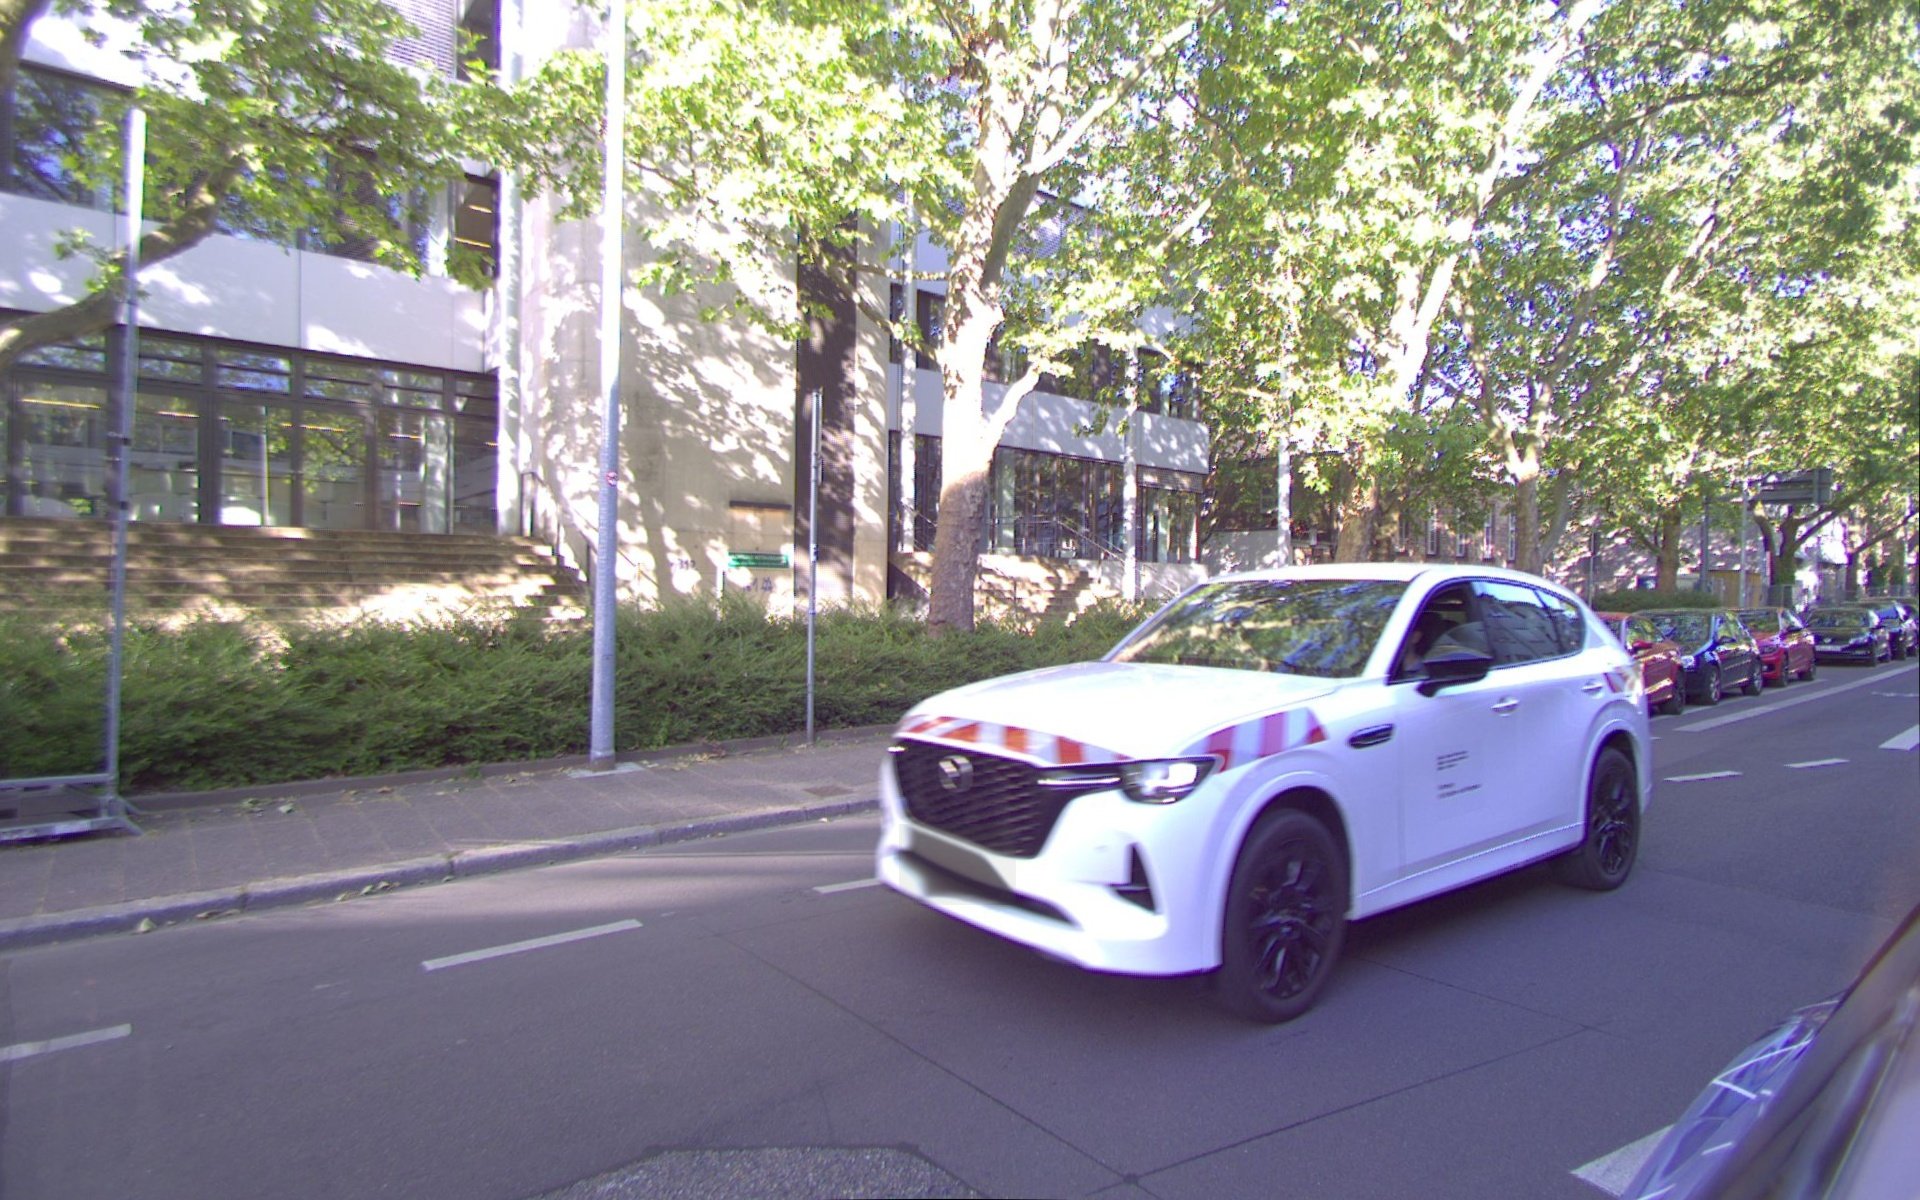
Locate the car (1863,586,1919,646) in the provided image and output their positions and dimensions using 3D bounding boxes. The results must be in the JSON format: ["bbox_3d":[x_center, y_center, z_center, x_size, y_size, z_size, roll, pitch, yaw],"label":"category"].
[{"bbox_3d":[30.970,0.488,32.964,4.370,1.844,1.753,0,-1,-41],"label":"car"}]

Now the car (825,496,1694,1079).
[{"bbox_3d":[1.726,0.561,5.107,4.399,1.730,1.948,0,-1,-36],"label":"car"}]

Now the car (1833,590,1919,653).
[{"bbox_3d":[26.712,0.588,29.174,4.101,1.674,1.753,0,-1,-41],"label":"car"}]

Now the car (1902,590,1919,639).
[{"bbox_3d":[36.193,0.519,37.260,4.370,1.750,1.753,0,-1,-41],"label":"car"}]

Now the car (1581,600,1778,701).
[{"bbox_3d":[11.848,0.740,16.587,3.841,1.451,1.753,0,-1,-41],"label":"car"}]

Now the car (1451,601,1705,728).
[{"bbox_3d":[8.279,0.741,13.434,3.930,1.427,1.753,0,-1,-41],"label":"car"}]

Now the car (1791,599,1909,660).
[{"bbox_3d":[22.945,0.718,26.062,3.841,1.451,1.753,0,-1,-41],"label":"car"}]

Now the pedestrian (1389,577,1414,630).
[{"bbox_3d":[14.244,0.101,32.649,0.649,1.691,0.525,0,0,-39],"label":"pedestrian"}]

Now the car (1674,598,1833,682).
[{"bbox_3d":[15.700,0.722,19.963,3.841,1.486,1.753,0,-1,-41],"label":"car"}]
